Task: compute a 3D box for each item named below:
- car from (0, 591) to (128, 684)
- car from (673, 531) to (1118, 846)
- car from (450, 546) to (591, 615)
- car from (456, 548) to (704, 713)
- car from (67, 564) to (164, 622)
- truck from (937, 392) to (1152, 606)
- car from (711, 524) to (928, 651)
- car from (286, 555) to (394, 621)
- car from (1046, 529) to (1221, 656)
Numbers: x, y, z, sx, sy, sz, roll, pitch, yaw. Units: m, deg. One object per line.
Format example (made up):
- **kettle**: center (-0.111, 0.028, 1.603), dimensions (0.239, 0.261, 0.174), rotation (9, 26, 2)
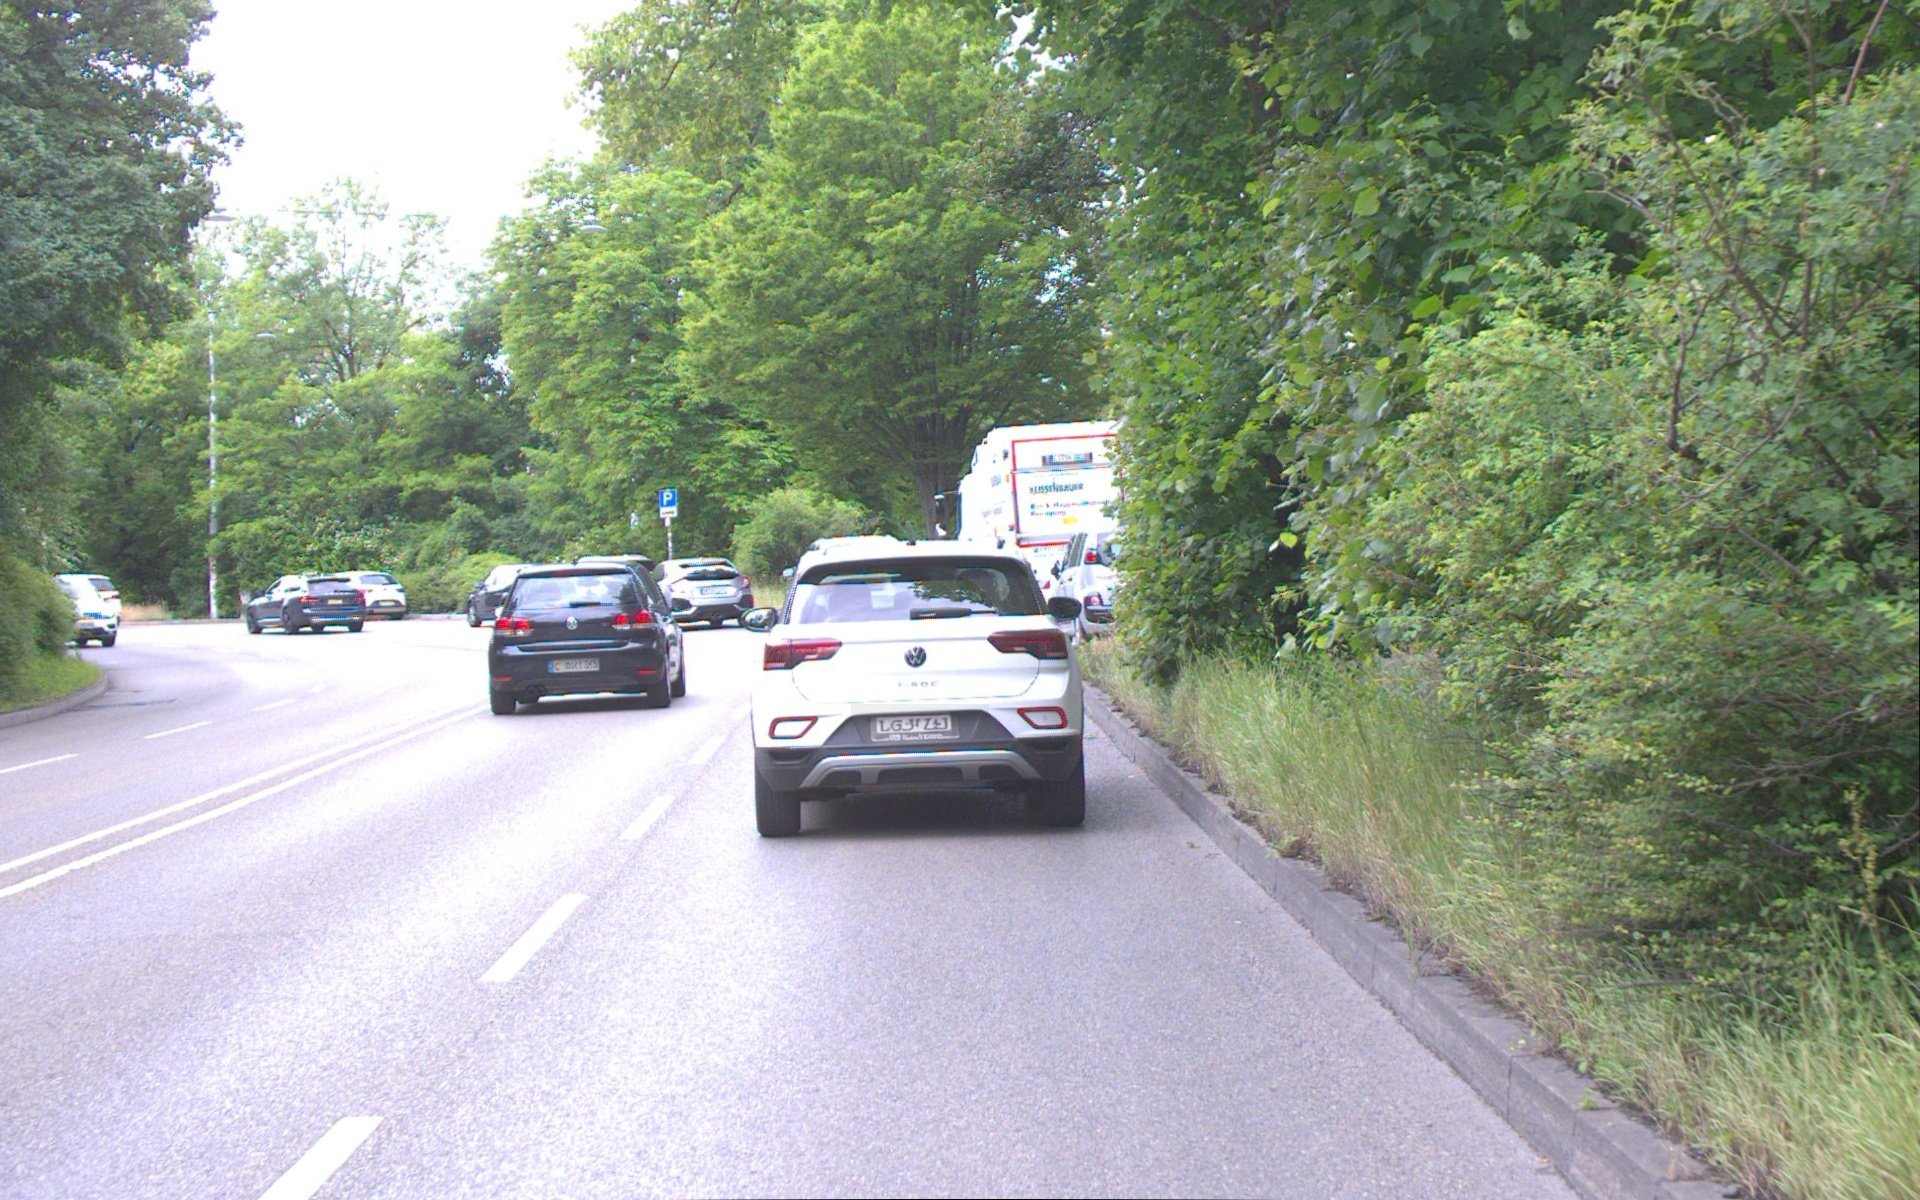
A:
- **car**: center (-21.493, 0.820, 78.648), dimensions (4.426, 1.688, 1.861), rotation (3, 9, 19)
- **car**: center (-0.483, 0.434, 19.506), dimensions (2.000, 1.590, 4.001), rotation (0, 0, -9)
- **car**: center (-10.548, -0.479, 82.357), dimensions (1.766, 1.601, 4.000), rotation (0, 0, -33)
- **car**: center (-3.750, 0.274, 34.586), dimensions (1.949, 1.461, 4.000), rotation (-3, 0, 0)
- **car**: center (-23.994, -0.202, 97.772), dimensions (1.821, 1.617, 4.000), rotation (0, 0, -1)
- **truck**: center (1.245, -1.535, 54.846), dimensions (2.481, 3.171, 7.230), rotation (0, 0, -6)
- **car**: center (-2.129, -0.202, 50.974), dimensions (1.851, 1.697, 4.001), rotation (-4, 2, -22)
- **car**: center (-15.291, -0.307, 84.940), dimensions (1.993, 1.586, 4.000), rotation (0, 0, -1)
- **car**: center (2.215, -0.121, 44.873), dimensions (1.803, 1.519, 4.001), rotation (-2, 1, -4)
